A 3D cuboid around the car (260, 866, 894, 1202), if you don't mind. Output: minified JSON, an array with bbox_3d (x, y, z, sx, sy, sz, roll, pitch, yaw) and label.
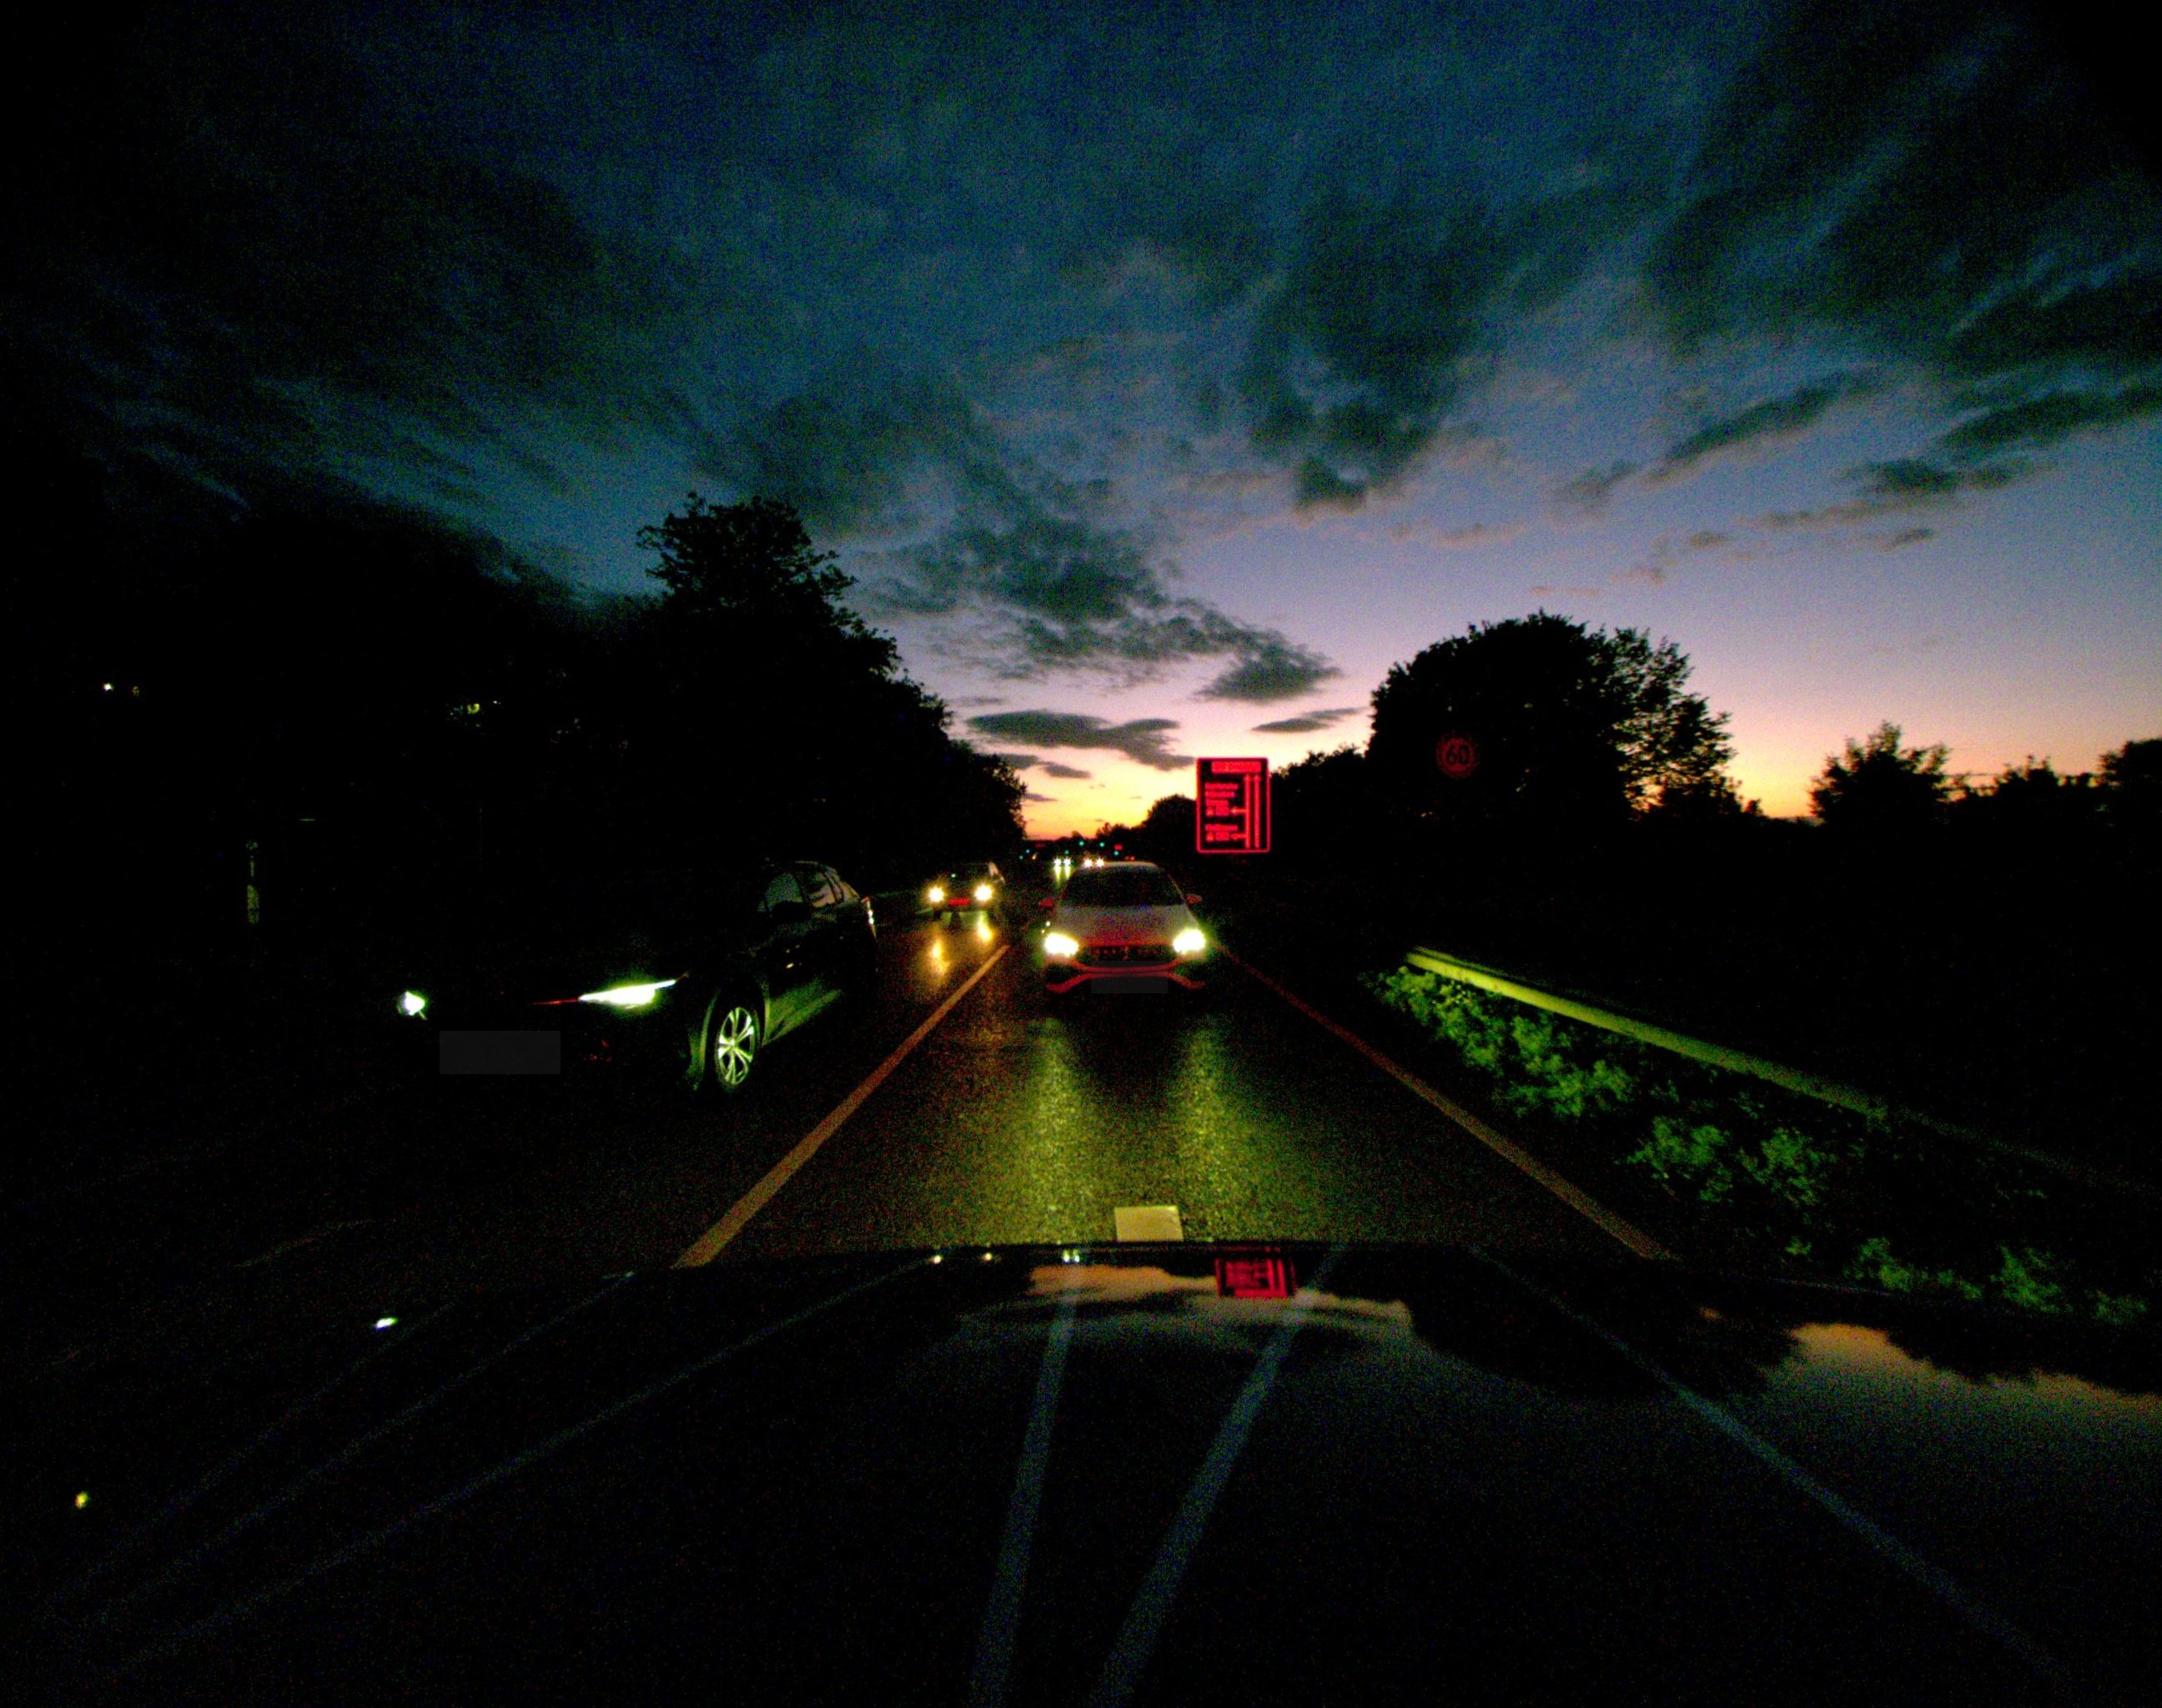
[{"bbox_3d":[-3.178,0.970,6.272,1.998,1.600,4.711,-2,0,1],"label":"car"}]

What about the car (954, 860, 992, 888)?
[{"bbox_3d":[-5.964,1.051,41.757,1.925,1.423,4.699,-1,0,-9],"label":"car"}]

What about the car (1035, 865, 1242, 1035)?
[{"bbox_3d":[0.535,0.930,9.369,1.901,1.472,4.514,-2,0,0],"label":"car"}]

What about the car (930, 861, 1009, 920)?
[{"bbox_3d":[-3.128,0.991,21.987,1.624,1.460,3.871,-2,0,1],"label":"car"}]

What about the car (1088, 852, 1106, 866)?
[{"bbox_3d":[1.963,0.591,92.709,1.999,1.602,4.501,-1,0,-1],"label":"car"}]

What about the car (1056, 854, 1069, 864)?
[{"bbox_3d":[-2.943,0.780,120.603,1.999,1.423,4.501,0,0,-1],"label":"car"}]
